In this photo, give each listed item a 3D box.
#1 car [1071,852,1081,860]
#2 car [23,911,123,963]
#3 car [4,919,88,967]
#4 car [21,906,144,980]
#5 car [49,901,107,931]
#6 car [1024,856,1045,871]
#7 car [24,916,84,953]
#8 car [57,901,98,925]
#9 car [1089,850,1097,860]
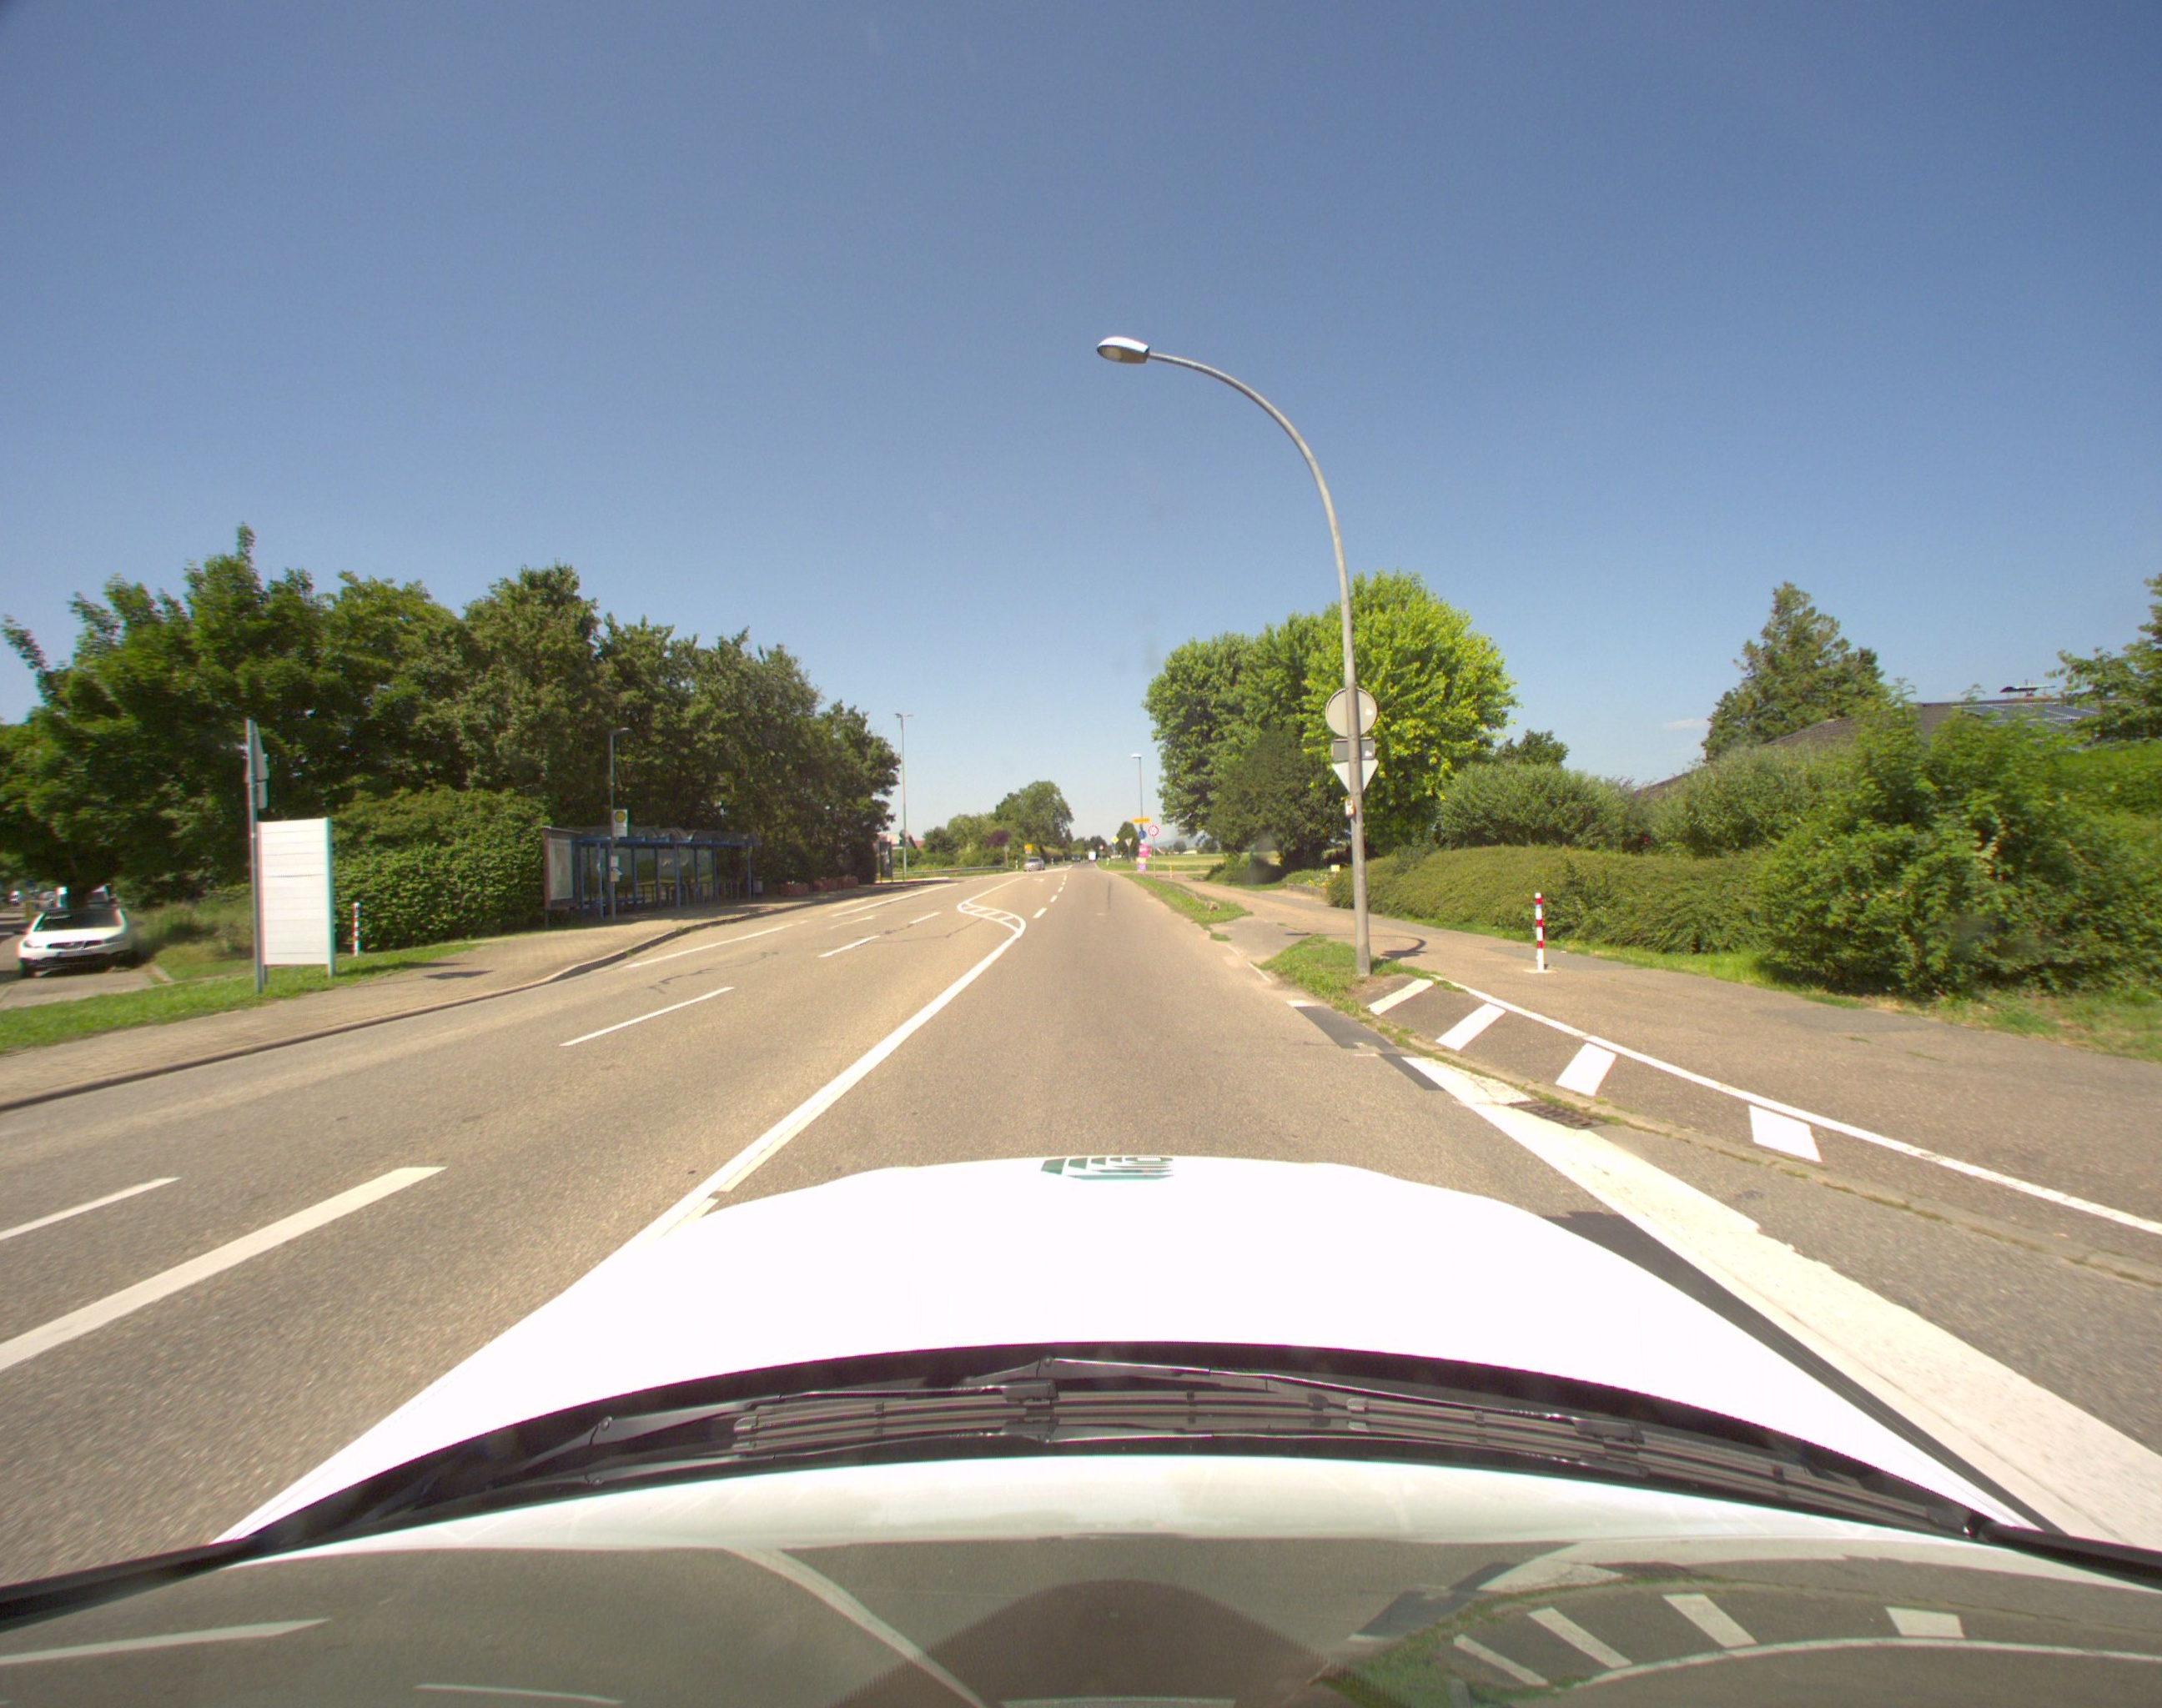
[{"bbox_3d":[-1.244,0.492,198.141,2.136,1.951,5.249,-2,0,2],"label":"car"},{"bbox_3d":[-32.473,2.629,26.315,3.338,1.348,1.693,-2,0,44],"label":"car"},{"bbox_3d":[-32.563,2.755,25.694,3.513,1.204,1.462,-2,0,41],"label":"car"},{"bbox_3d":[-25.943,2.235,21.279,3.536,1.568,1.817,-2,0,42],"label":"car"},{"bbox_3d":[-47.984,2.955,38.999,1.309,1.243,2.917,-2,0,-43],"label":"car"},{"bbox_3d":[-4.835,0.971,85.411,1.629,1.471,4.420,-2,0,4],"label":"car"},{"bbox_3d":[-41.370,3.209,32.843,2.904,1.228,1.235,-2,0,43],"label":"car"},{"bbox_3d":[-70.349,4.116,57.107,3.455,1.492,1.704,-2,0,40],"label":"car"},{"bbox_3d":[3.409,0.326,226.496,1.987,2.651,3.999,-2,0,-1],"label":"car"}]
